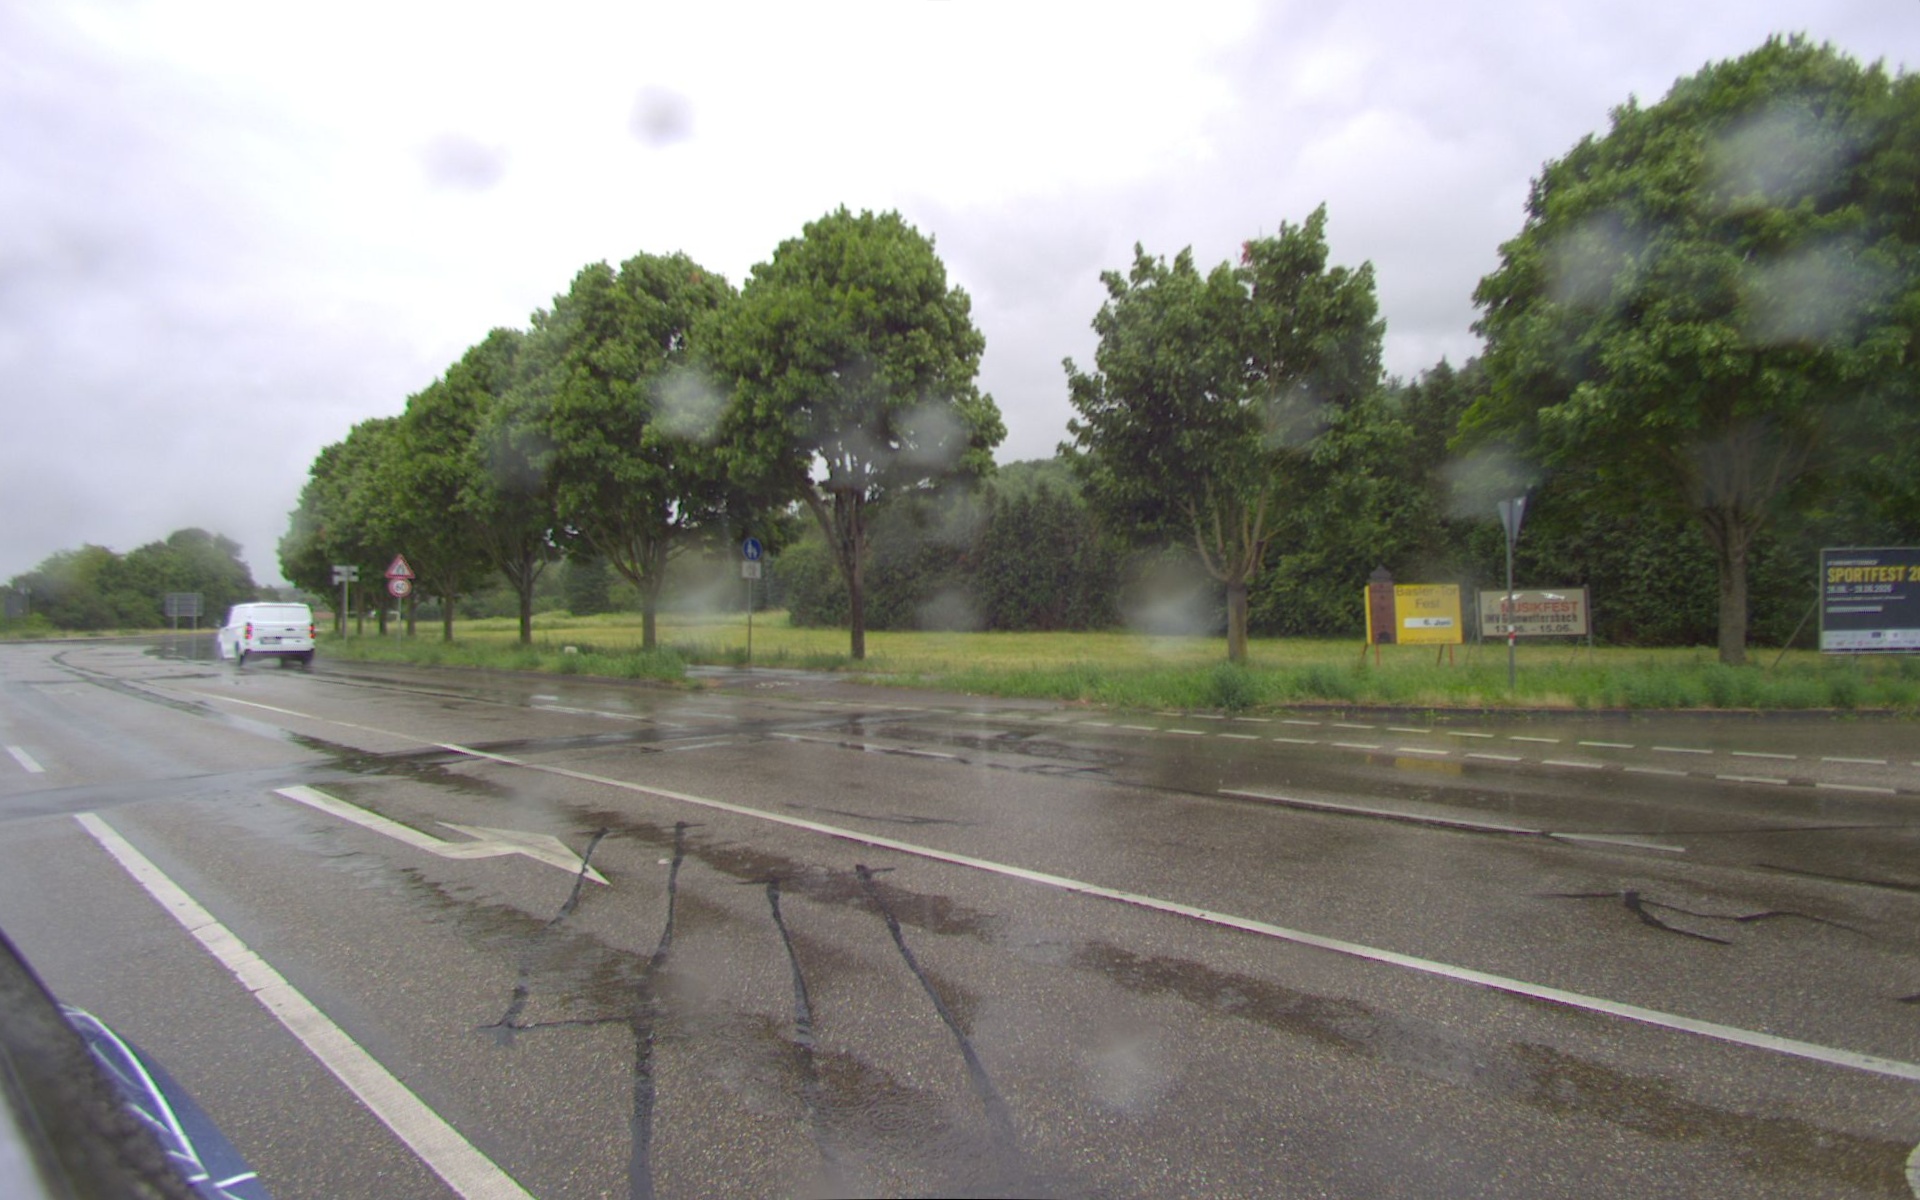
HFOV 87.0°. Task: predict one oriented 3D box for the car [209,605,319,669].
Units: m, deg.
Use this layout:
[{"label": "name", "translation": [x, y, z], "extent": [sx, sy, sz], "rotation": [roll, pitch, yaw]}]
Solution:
[{"label": "car", "translation": [-22.492, 1.135, 32.619], "extent": [4.793, 1.907, 2.082], "rotation": [-1, -1, 45]}]
